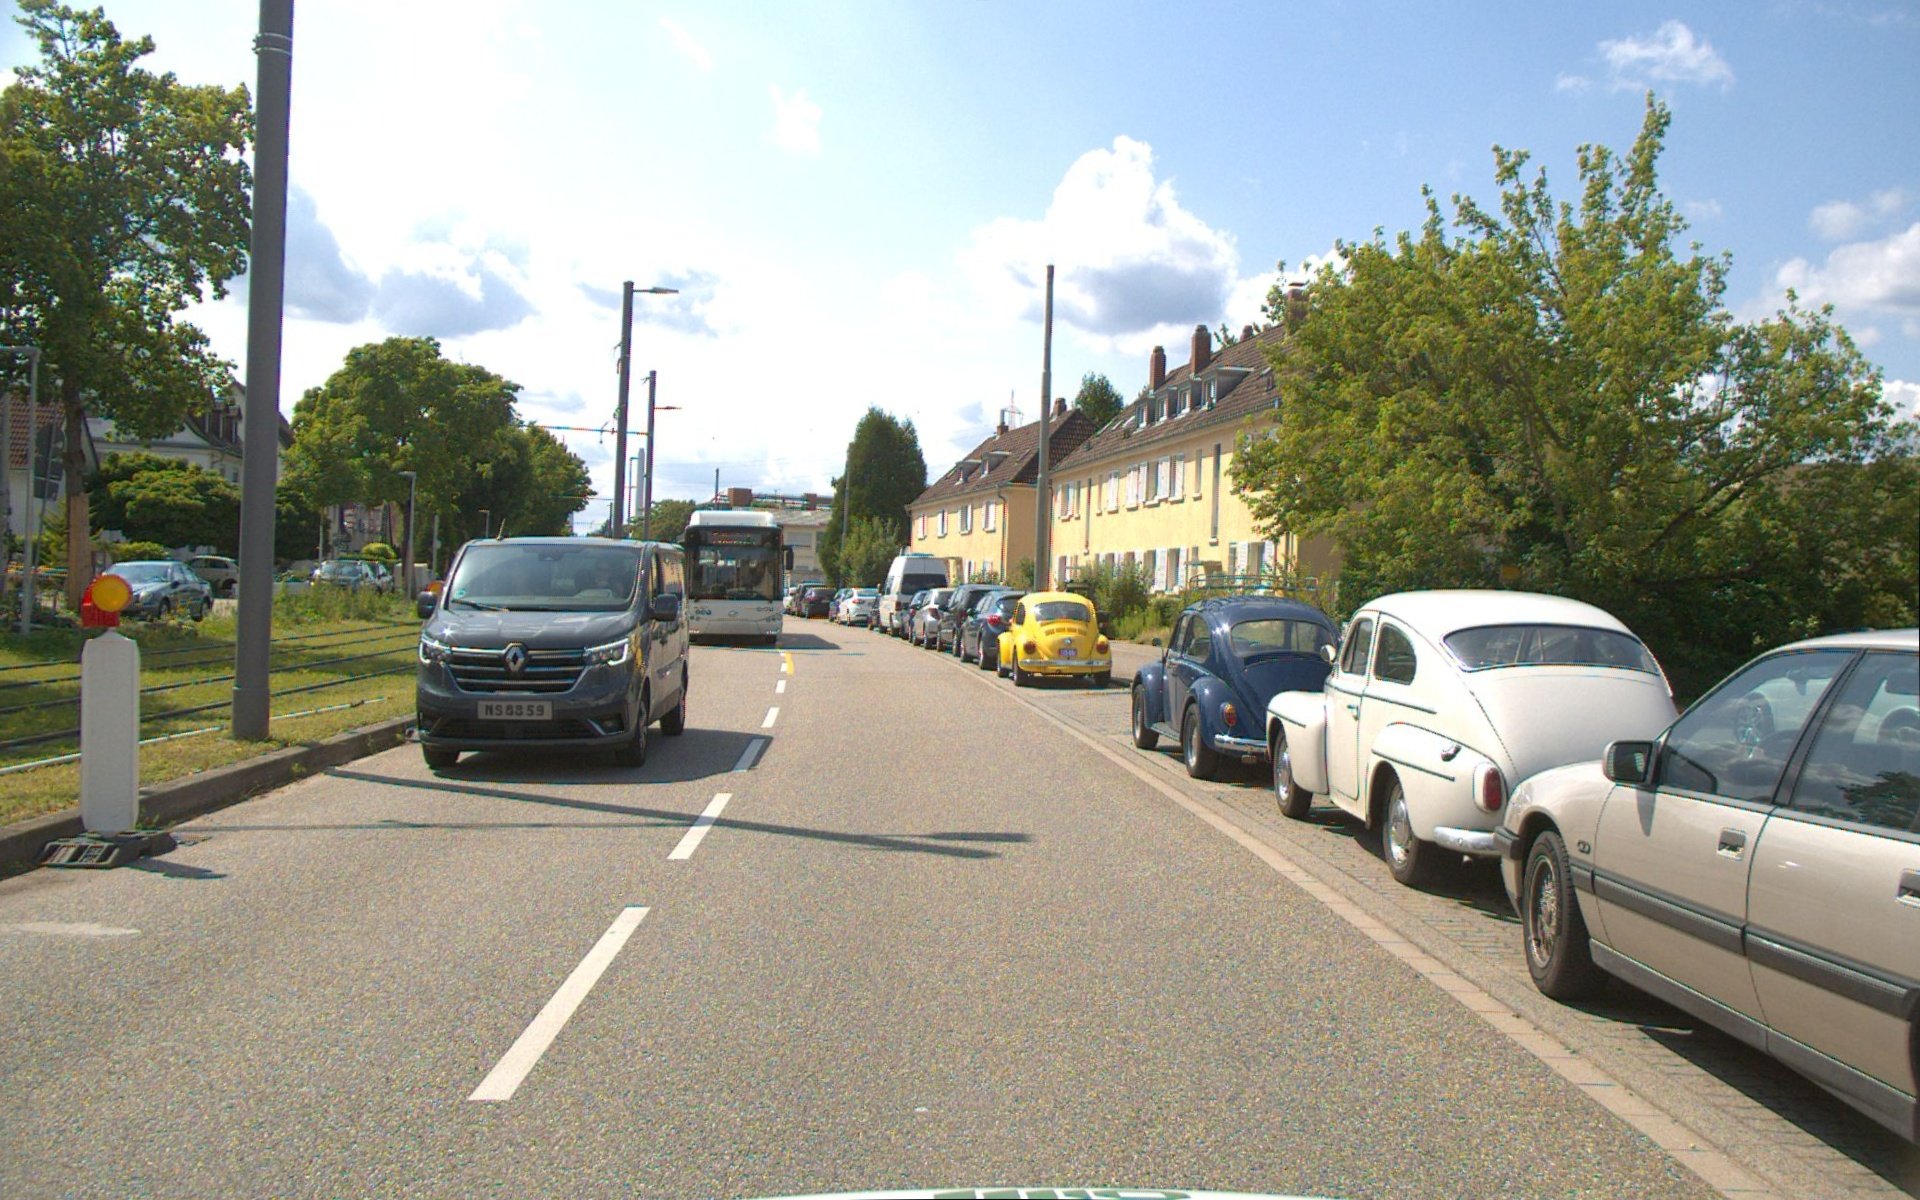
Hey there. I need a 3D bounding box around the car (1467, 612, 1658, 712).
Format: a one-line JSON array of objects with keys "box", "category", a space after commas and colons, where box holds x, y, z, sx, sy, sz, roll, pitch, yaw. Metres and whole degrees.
[{"box": [9.579, 0.939, 26.617, 1.602, 1.379, 4.088, 2, 0, 1], "category": "car"}]

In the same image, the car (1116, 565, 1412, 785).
[{"box": [2.580, 0.567, 15.029, 1.518, 1.669, 4.242, 2, 0, -5], "category": "car"}]

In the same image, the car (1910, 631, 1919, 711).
[{"box": [18.182, 1.308, 28.039, 1.604, 1.425, 4.085, 2, 0, -3], "category": "car"}]

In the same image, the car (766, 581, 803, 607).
[{"box": [-10.065, -0.356, 94.617, 1.733, 1.465, 3.988, 0, 1, -12], "category": "car"}]

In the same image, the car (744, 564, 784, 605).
[{"box": [-12.532, -1.027, 105.582, 1.926, 2.522, 6.040, 0, 1, -13], "category": "car"}]

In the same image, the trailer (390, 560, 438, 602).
[{"box": [-23.541, -0.842, 71.345, 1.538, 1.707, 3.362, 2, 0, -12], "category": "trailer"}]

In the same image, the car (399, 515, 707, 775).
[{"box": [-3.586, 0.330, 15.595, 1.917, 2.000, 5.288, 1, 0, -4], "category": "car"}]

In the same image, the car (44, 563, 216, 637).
[{"box": [-17.911, -0.017, 35.937, 1.785, 1.430, 4.805, 2, 0, -7], "category": "car"}]

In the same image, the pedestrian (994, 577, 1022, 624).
[{"box": [1.749, 0.016, 60.346, 0.837, 1.680, 0.636, 2, 0, -7], "category": "pedestrian"}]

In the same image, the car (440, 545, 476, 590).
[{"box": [-32.122, -2.043, 105.989, 2.040, 2.768, 6.972, 0, 1, -16], "category": "car"}]

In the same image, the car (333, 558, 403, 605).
[{"box": [-21.744, -0.679, 60.853, 1.664, 1.666, 4.557, 0, 1, -10], "category": "car"}]

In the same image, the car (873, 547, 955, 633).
[{"box": [-1.520, -0.323, 52.127, 1.893, 2.524, 5.506, 1, 0, -9], "category": "car"}]

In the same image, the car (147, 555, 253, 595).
[{"box": [-33.318, -1.110, 72.579, 3.921, 1.598, 1.788, 2, 0, -15], "category": "car"}]

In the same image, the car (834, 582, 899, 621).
[{"box": [-3.691, 0.052, 64.693, 1.767, 1.483, 4.750, 0, 0, -13], "category": "car"}]

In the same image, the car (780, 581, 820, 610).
[{"box": [-8.591, -0.277, 88.581, 1.733, 1.502, 3.988, 0, 1, -12], "category": "car"}]

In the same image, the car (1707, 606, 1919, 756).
[{"box": [9.897, 0.815, 17.666, 1.605, 1.398, 4.082, 2, 0, -7], "category": "car"}]

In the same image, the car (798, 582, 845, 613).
[{"box": [-6.621, -0.142, 78.732, 1.733, 1.442, 3.988, 0, 1, -12], "category": "car"}]

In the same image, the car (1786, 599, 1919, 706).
[{"box": [15.516, 0.811, 27.218, 1.604, 1.574, 4.085, -1, 1, -3], "category": "car"}]

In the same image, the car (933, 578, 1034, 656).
[{"box": [0.484, 0.351, 38.108, 1.606, 1.630, 3.923, 2, 0, -10], "category": "car"}]

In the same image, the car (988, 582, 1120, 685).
[{"box": [1.485, 0.494, 27.521, 1.604, 1.508, 3.927, -1, 1, -6], "category": "car"}]

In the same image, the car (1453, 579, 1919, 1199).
[{"box": [3.095, 0.712, 4.811, 1.672, 1.474, 4.833, 2, 0, -2], "category": "car"}]

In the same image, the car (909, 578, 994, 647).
[{"box": [-0.269, 0.277, 42.122, 1.605, 1.630, 4.023, 2, 0, -8], "category": "car"}]

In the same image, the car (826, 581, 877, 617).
[{"box": [-4.639, -0.062, 70.109, 1.592, 1.442, 3.988, 0, 1, -12], "category": "car"}]

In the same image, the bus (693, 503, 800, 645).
[{"box": [-6.225, -0.718, 46.910, 2.587, 3.472, 12.223, 1, 1, -9], "category": "bus"}]

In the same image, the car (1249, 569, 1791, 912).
[{"box": [2.996, 0.638, 9.907, 1.546, 1.539, 4.458, 2, 0, -2], "category": "car"}]

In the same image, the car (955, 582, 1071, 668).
[{"box": [0.981, 0.447, 32.721, 1.605, 1.508, 4.118, 2, 0, -8], "category": "car"}]

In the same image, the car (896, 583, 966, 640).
[{"box": [-0.864, 0.300, 46.813, 1.507, 1.470, 3.731, 2, 0, -8], "category": "car"}]

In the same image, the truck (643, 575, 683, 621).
[{"box": [-23.051, -0.198, 128.072, 2.517, 3.520, 7.122, 0, 1, -15], "category": "truck"}]

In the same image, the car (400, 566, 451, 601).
[{"box": [-24.618, -0.779, 76.303, 1.697, 1.531, 4.555, 0, 1, -11], "category": "car"}]

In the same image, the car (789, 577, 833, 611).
[{"box": [-7.577, -0.327, 83.786, 1.733, 1.672, 3.988, 0, 1, -12], "category": "car"}]

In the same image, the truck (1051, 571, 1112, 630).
[{"box": [3.698, 0.021, 50.468, 1.321, 1.718, 2.437, 2, 0, -8], "category": "truck"}]
